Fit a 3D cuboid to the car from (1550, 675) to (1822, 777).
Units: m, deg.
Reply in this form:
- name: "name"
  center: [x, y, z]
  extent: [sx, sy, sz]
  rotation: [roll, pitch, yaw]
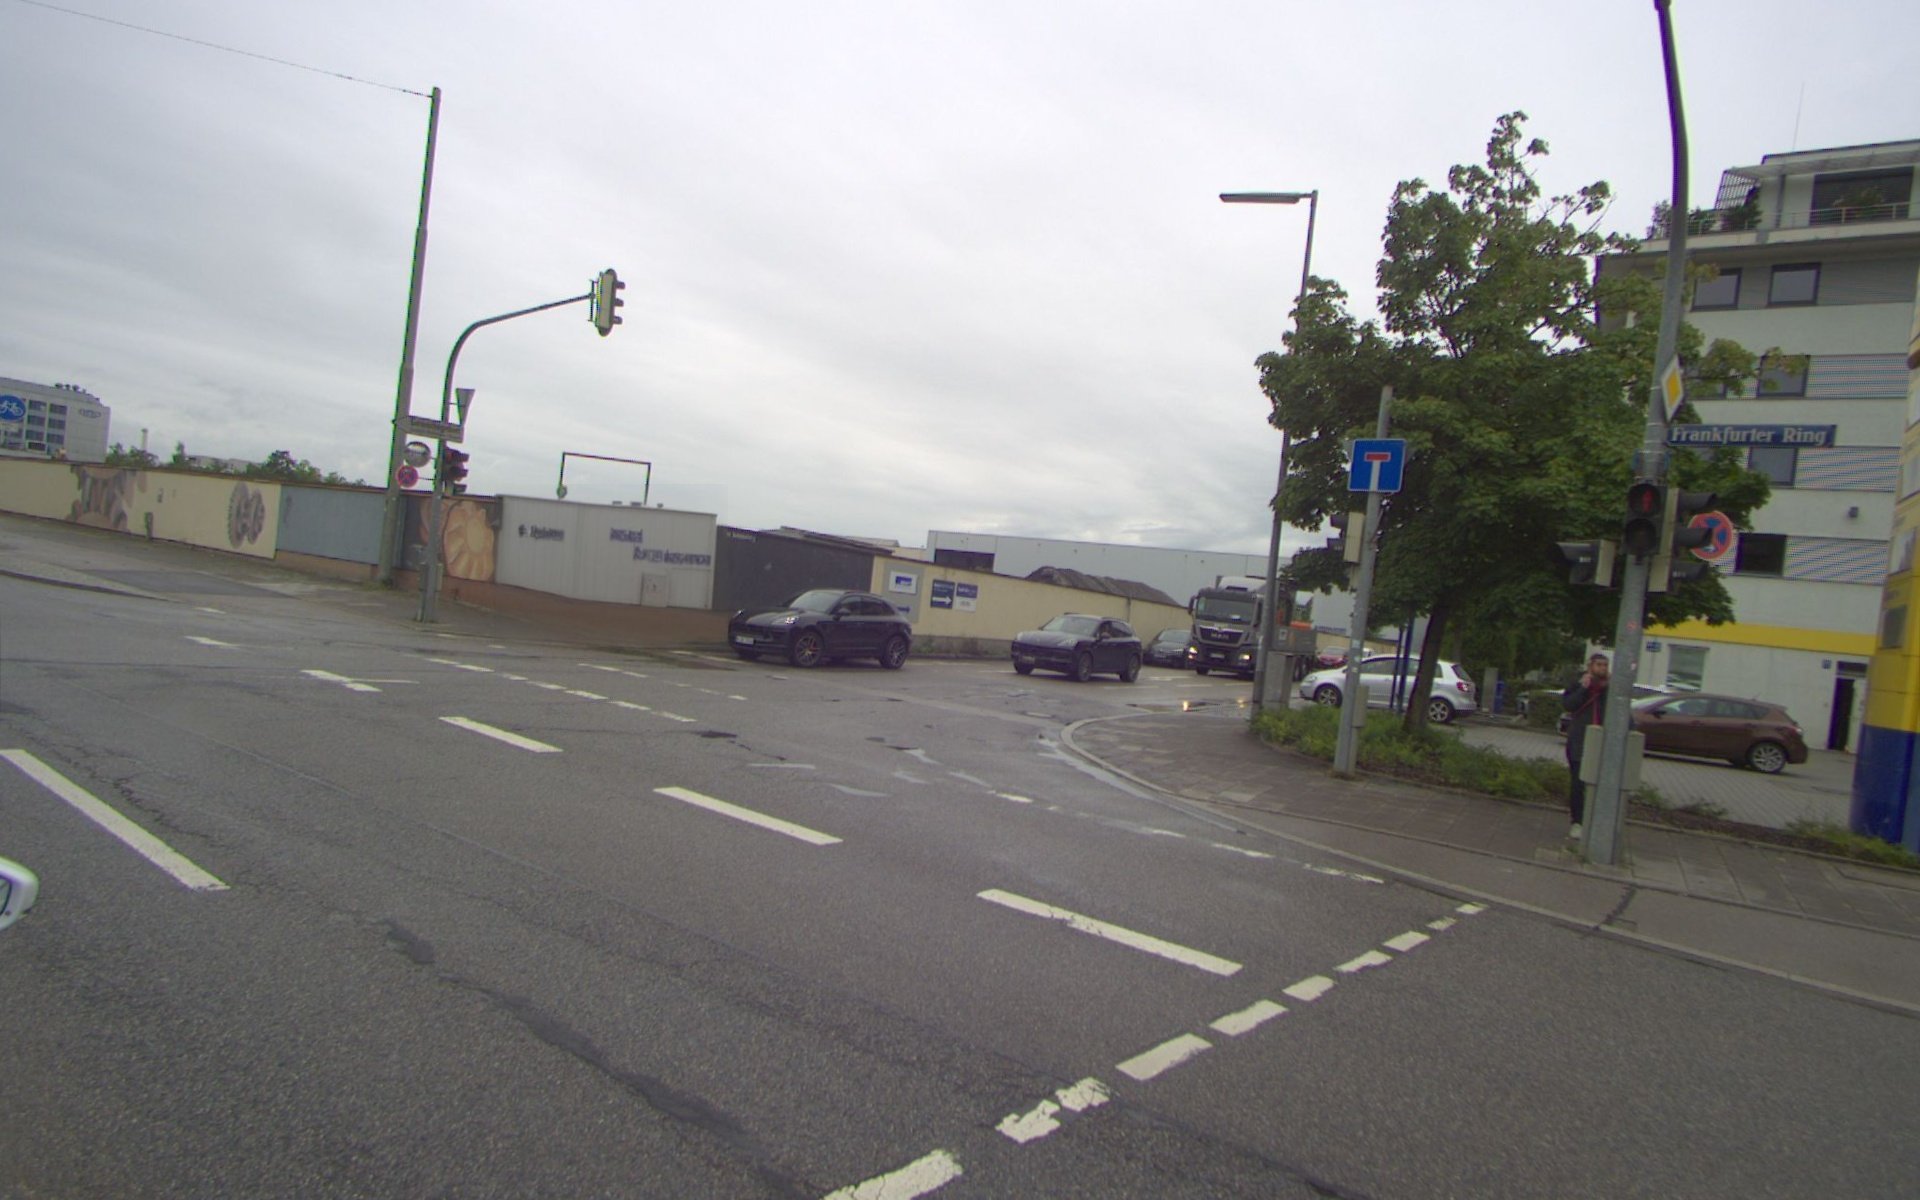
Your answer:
- name: "car"
  center: [15.235, 2.598, 21.420]
  extent: [4.284, 1.400, 1.704]
  rotation: [7, -1, 23]

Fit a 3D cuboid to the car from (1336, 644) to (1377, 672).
- name: "car"
  center: [29.416, 4.314, 74.564]
  extent: [1.843, 1.726, 4.094]
  rotation: [7, -1, 33]

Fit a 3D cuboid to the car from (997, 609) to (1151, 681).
- name: "car"
  center: [3.118, 1.240, 26.623]
  extent: [1.969, 1.552, 4.618]
  rotation: [7, 0, 35]

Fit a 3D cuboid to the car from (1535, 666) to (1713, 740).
- name: "car"
  center: [19.478, 3.006, 29.725]
  extent: [4.124, 1.496, 1.905]
  rotation: [7, -1, 32]

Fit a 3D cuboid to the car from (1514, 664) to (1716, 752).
- name: "car"
  center: [16.056, 2.626, 24.827]
  extent: [3.915, 1.504, 1.625]
  rotation: [7, -1, 34]

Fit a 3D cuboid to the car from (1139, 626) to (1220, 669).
- name: "car"
  center: [9.198, 2.000, 41.901]
  extent: [1.736, 1.494, 3.986]
  rotation: [7, 0, 36]

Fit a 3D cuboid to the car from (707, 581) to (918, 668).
- name: "car"
  center: [-3.034, 0.570, 21.449]
  extent: [1.969, 1.446, 4.250]
  rotation: [7, 0, 35]

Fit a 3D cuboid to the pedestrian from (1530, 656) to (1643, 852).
- name: "pedestrian"
  center: [5.793, 1.382, 9.327]
  extent: [0.676, 1.637, 0.802]
  rotation: [7, 3, 32]

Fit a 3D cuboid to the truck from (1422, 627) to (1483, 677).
- name: "truck"
  center: [44.658, 4.820, 90.941]
  extent: [2.834, 3.880, 11.898]
  rotation: [7, 0, 35]

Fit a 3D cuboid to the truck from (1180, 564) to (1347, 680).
- name: "truck"
  center: [12.723, 1.137, 41.050]
  extent: [2.569, 3.904, 11.898]
  rotation: [7, 0, 35]

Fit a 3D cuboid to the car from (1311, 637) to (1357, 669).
- name: "car"
  center: [24.875, 3.543, 66.845]
  extent: [1.843, 1.726, 4.094]
  rotation: [7, -1, 33]

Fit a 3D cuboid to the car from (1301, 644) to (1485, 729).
- name: "car"
  center: [10.764, 2.120, 25.097]
  extent: [3.911, 1.504, 1.626]
  rotation: [7, -1, 31]
